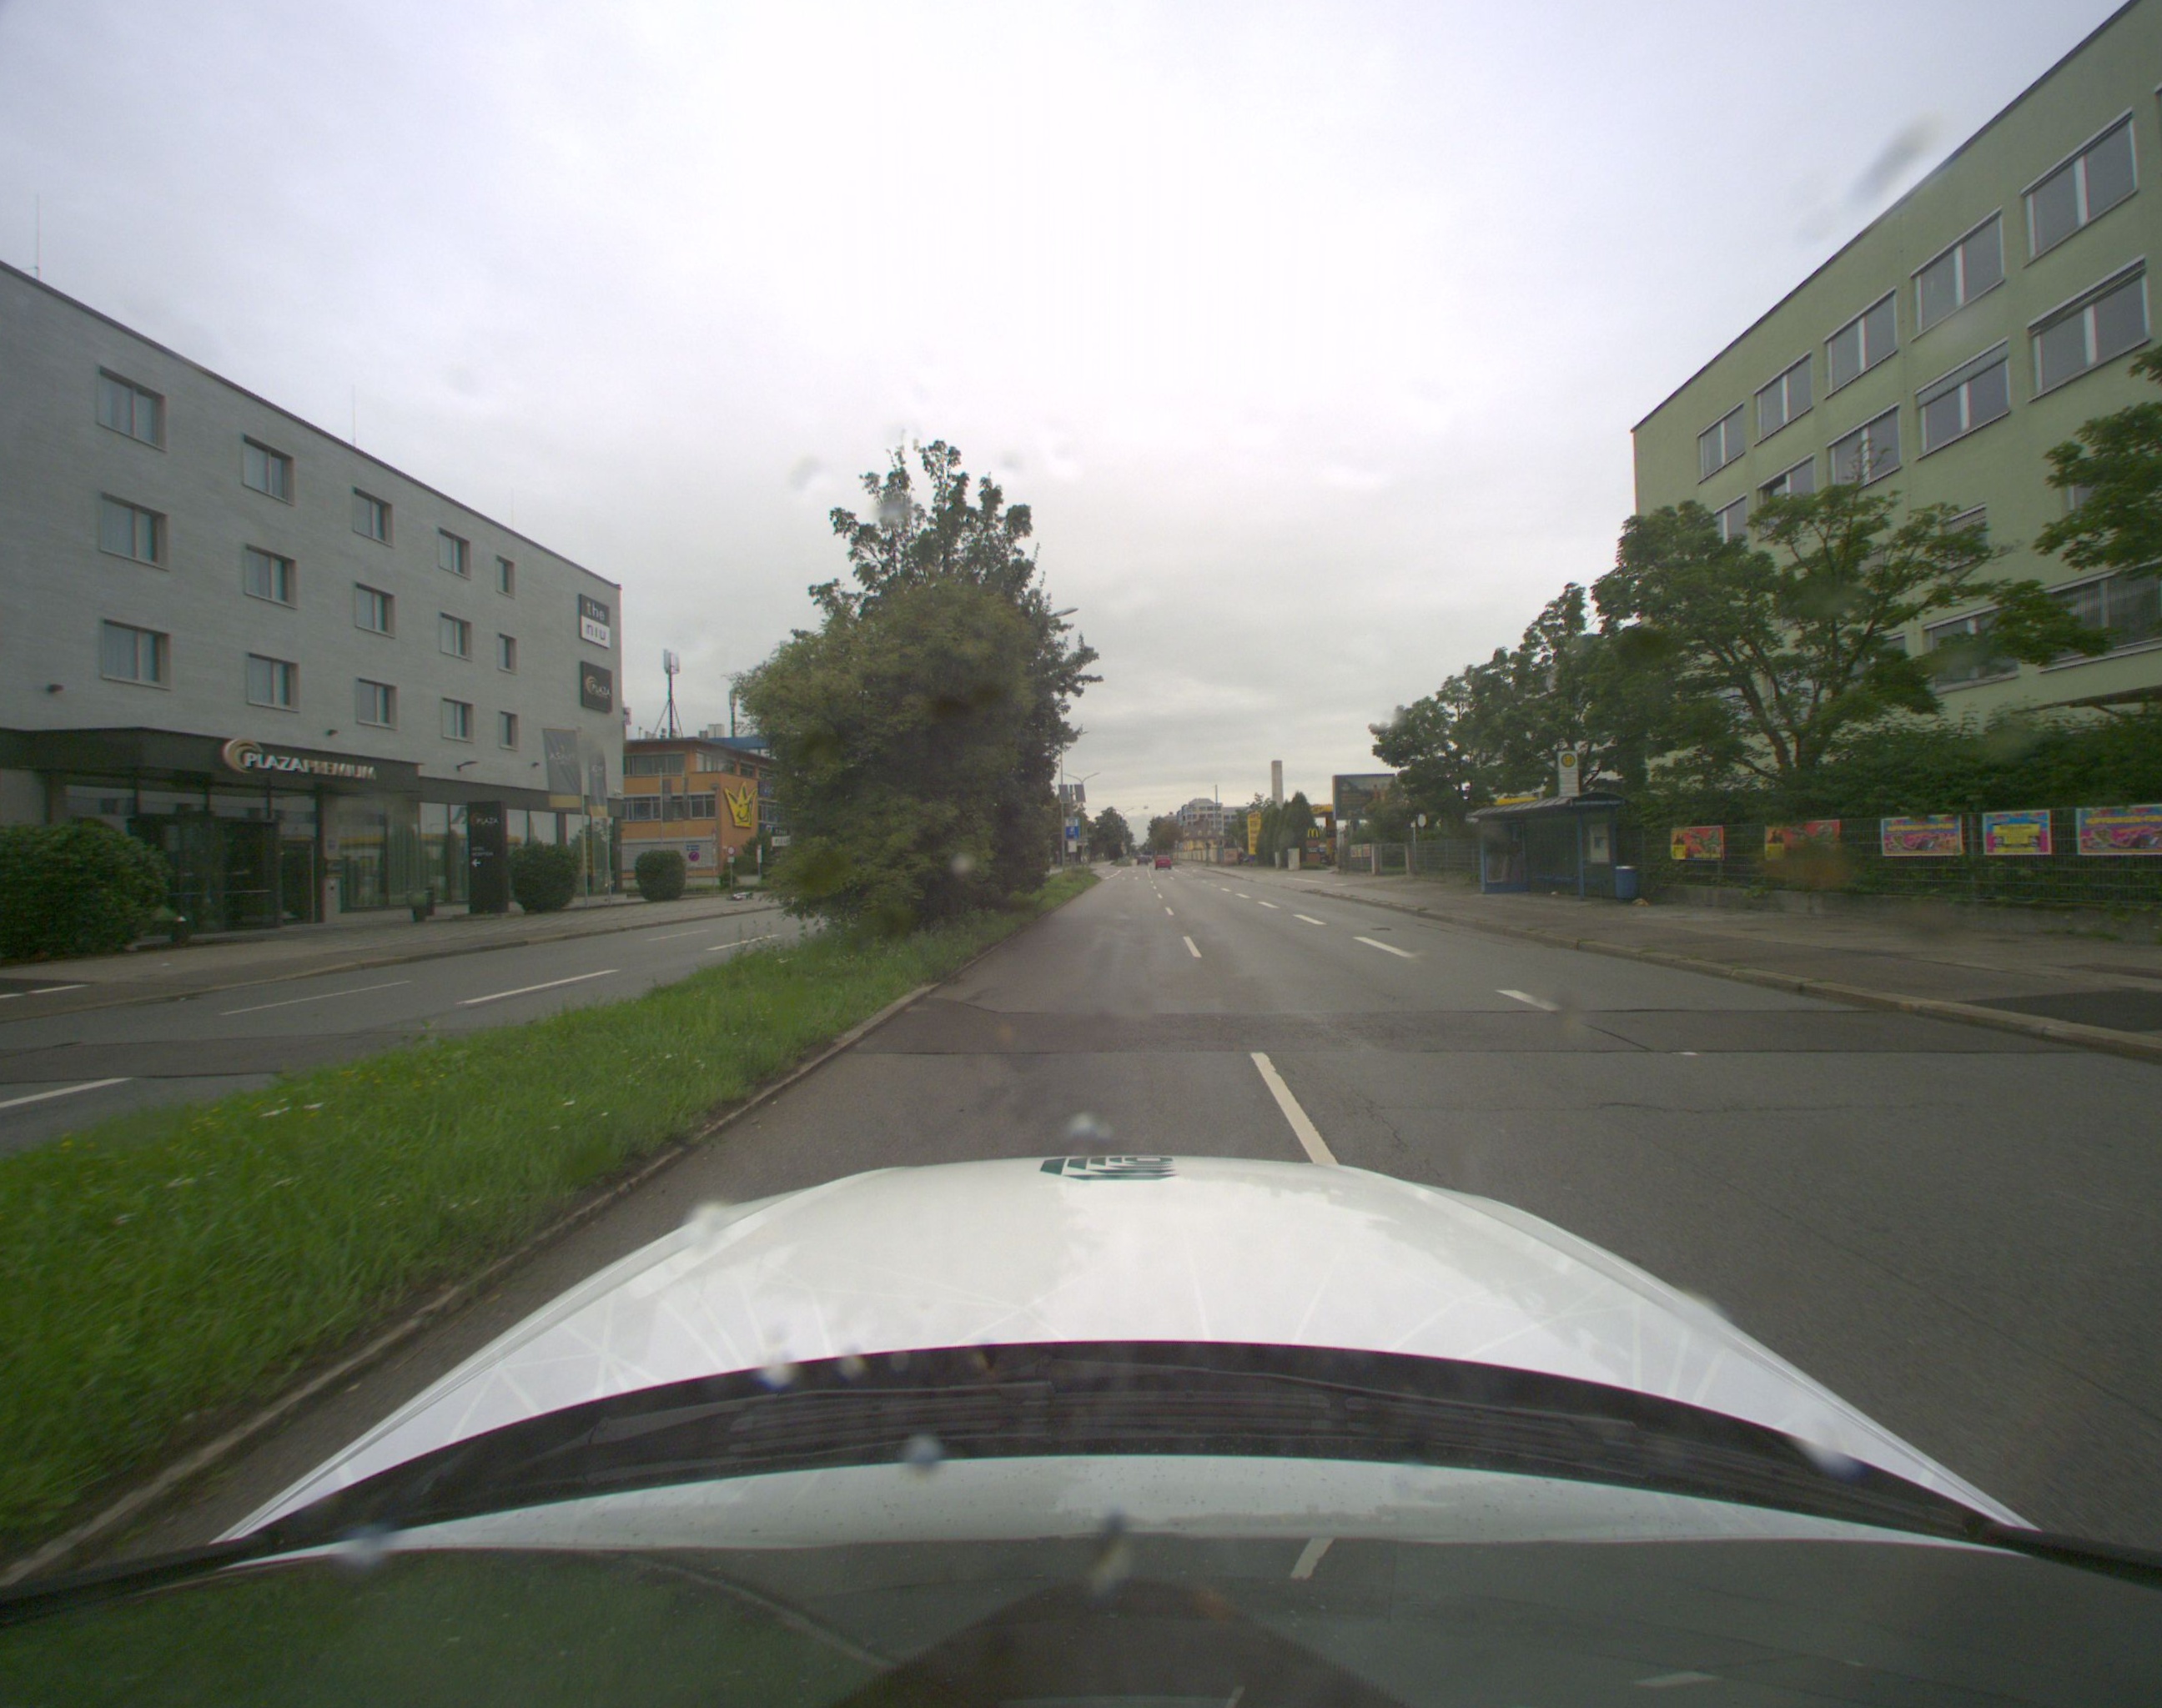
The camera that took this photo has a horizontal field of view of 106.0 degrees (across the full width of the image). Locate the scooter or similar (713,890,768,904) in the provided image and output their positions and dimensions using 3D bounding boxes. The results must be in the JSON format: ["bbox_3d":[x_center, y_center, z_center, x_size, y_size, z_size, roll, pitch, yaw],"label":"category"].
[{"bbox_3d":[-15.385,1.953,36.882,1.462,0.585,2.320,-2,-3,1],"label":"scooter or similar"}]

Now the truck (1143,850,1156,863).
[{"bbox_3d":[18.671,0.697,222.126,2.957,3.285,7.919,-2,0,2],"label":"truck"}]

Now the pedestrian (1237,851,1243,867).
[{"bbox_3d":[17.185,0.539,87.948,0.481,1.636,0.591,-2,0,6],"label":"pedestrian"}]

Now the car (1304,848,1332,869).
[{"bbox_3d":[21.907,0.427,75.497,1.745,1.794,4.006,-2,0,6],"label":"car"}]

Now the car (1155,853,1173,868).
[{"bbox_3d":[9.440,0.763,92.839,1.855,1.618,4.002,-1,-1,2],"label":"car"}]

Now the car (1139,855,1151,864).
[{"bbox_3d":[10.784,0.973,137.098,1.796,1.432,4.002,-2,0,2],"label":"car"}]

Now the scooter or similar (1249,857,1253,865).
[{"bbox_3d":[18.210,0.725,87.368,0.173,0.823,0.783,-2,0,27],"label":"scooter or similar"}]
